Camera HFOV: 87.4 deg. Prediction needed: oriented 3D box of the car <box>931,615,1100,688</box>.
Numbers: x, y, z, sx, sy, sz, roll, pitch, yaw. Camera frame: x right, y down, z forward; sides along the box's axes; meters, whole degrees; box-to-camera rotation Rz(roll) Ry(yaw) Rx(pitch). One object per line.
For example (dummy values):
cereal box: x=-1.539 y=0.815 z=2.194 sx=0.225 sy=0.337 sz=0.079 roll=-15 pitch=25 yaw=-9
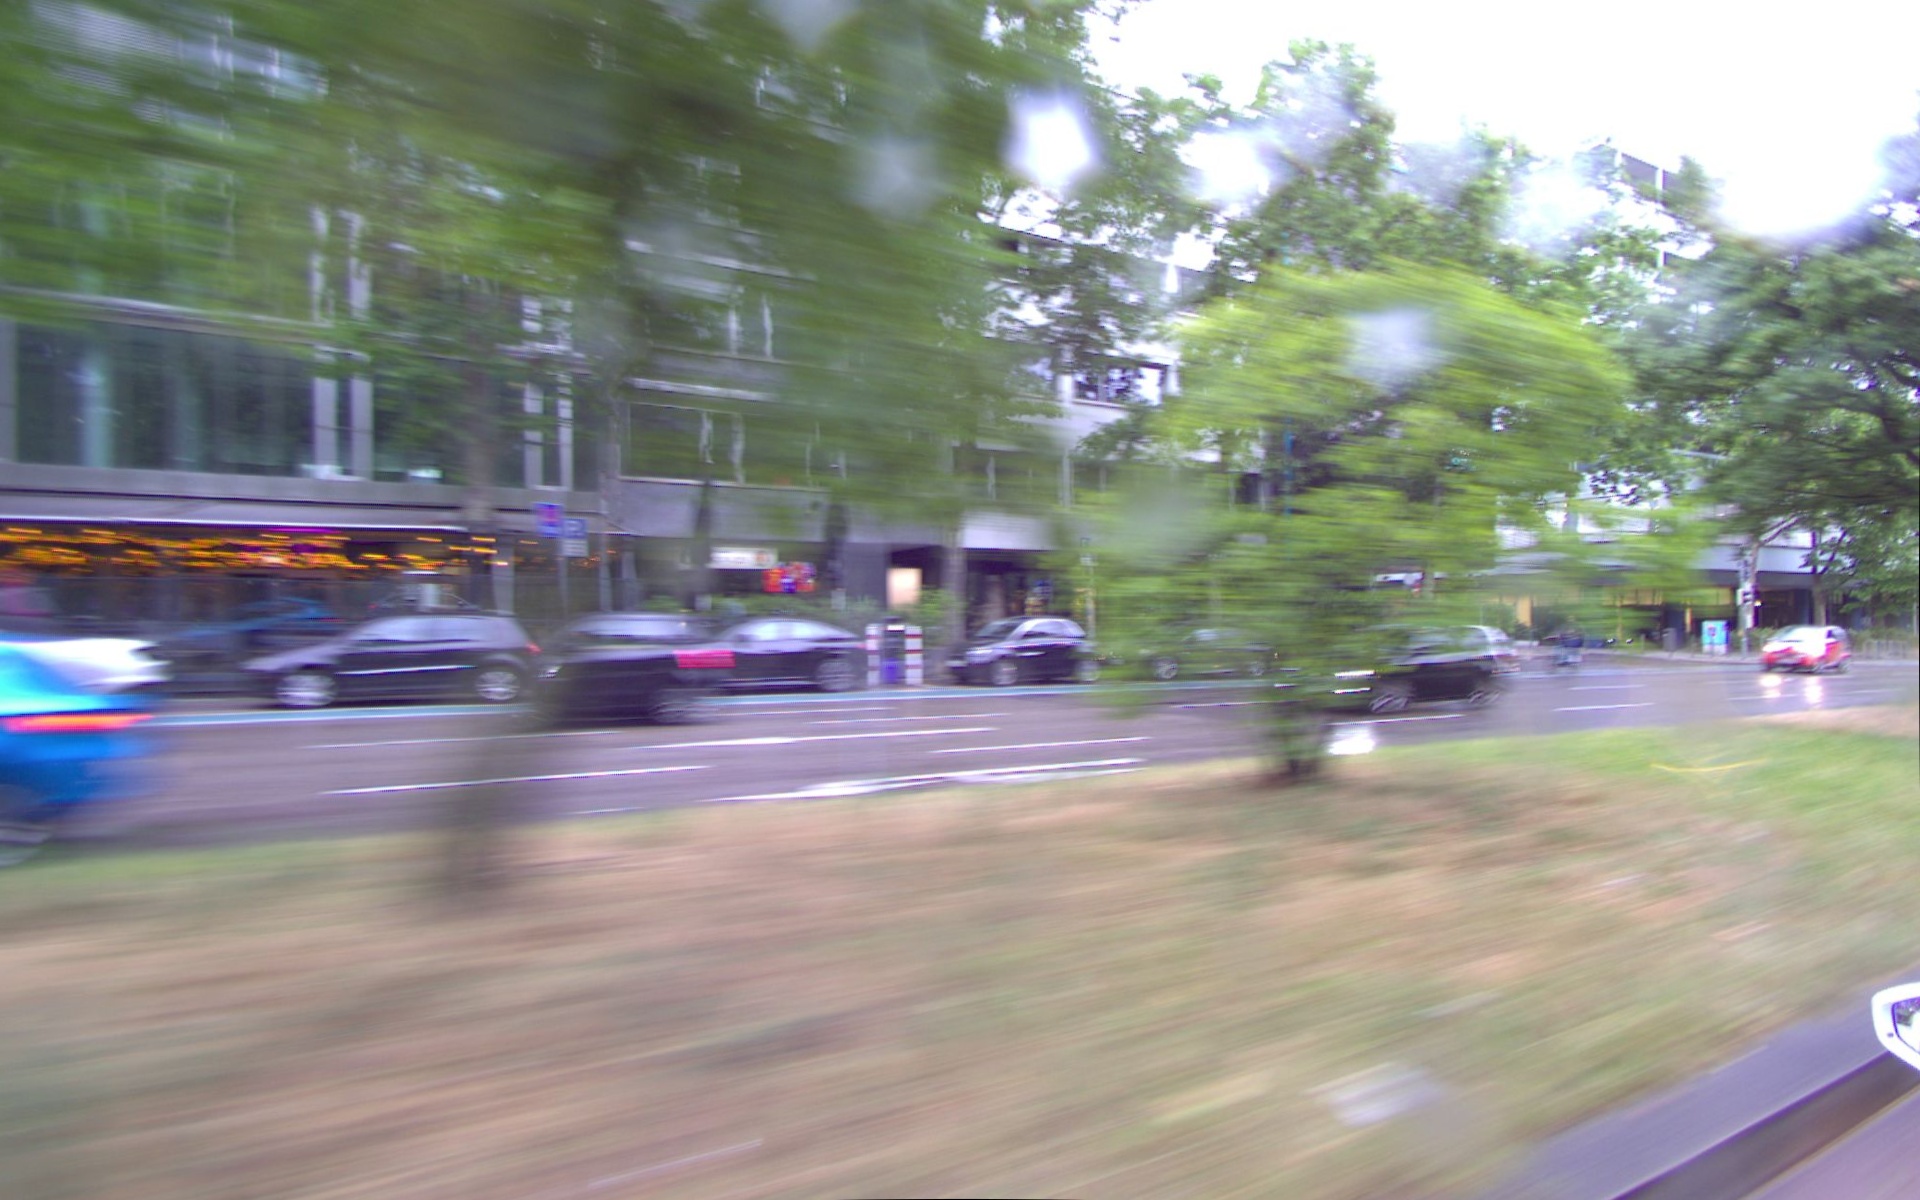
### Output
car: x=1.254 y=1.092 z=22.436 sx=3.419 sy=1.488 sz=1.685 roll=0 pitch=-1 yaw=-31

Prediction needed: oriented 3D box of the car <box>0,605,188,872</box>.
car: x=-7.285 y=0.819 z=5.712 sx=4.345 sy=1.502 sz=1.834 roll=-1 pitch=1 yaw=-31

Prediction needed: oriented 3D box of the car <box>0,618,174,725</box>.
car: x=-13.695 y=0.975 z=13.589 sx=4.628 sy=1.371 sz=1.552 roll=0 pitch=0 yaw=-31

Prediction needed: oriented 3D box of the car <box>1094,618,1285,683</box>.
car: x=5.770 y=1.197 z=25.016 sx=4.847 sy=1.428 sz=1.685 roll=0 pitch=-1 yaw=-31

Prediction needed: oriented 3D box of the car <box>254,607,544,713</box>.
car: x=-9.064 y=0.897 z=16.470 sx=3.953 sy=1.528 sz=1.828 roll=0 pitch=-1 yaw=-31

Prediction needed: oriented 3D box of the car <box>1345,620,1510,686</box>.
car: x=11.010 y=1.190 z=23.644 sx=3.600 sy=1.448 sz=1.834 roll=1 pitch=-1 yaw=-31

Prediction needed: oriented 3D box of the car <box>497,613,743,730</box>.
car: x=-4.755 y=0.916 z=14.055 sx=3.010 sy=1.386 sz=1.711 roll=-1 pitch=1 yaw=-29

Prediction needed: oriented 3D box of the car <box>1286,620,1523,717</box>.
car: x=7.841 y=1.136 z=17.649 sx=4.047 sy=1.495 sz=1.741 roll=1 pitch=0 yaw=-30

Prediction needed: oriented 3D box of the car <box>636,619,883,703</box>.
car: x=-3.839 y=1.110 z=19.485 sx=4.404 sy=1.428 sz=1.685 roll=0 pitch=-1 yaw=-31

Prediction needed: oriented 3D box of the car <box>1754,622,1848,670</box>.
car: x=27.391 y=1.471 z=32.701 sx=2.698 sy=1.482 sz=1.487 roll=0 pitch=-1 yaw=-29
